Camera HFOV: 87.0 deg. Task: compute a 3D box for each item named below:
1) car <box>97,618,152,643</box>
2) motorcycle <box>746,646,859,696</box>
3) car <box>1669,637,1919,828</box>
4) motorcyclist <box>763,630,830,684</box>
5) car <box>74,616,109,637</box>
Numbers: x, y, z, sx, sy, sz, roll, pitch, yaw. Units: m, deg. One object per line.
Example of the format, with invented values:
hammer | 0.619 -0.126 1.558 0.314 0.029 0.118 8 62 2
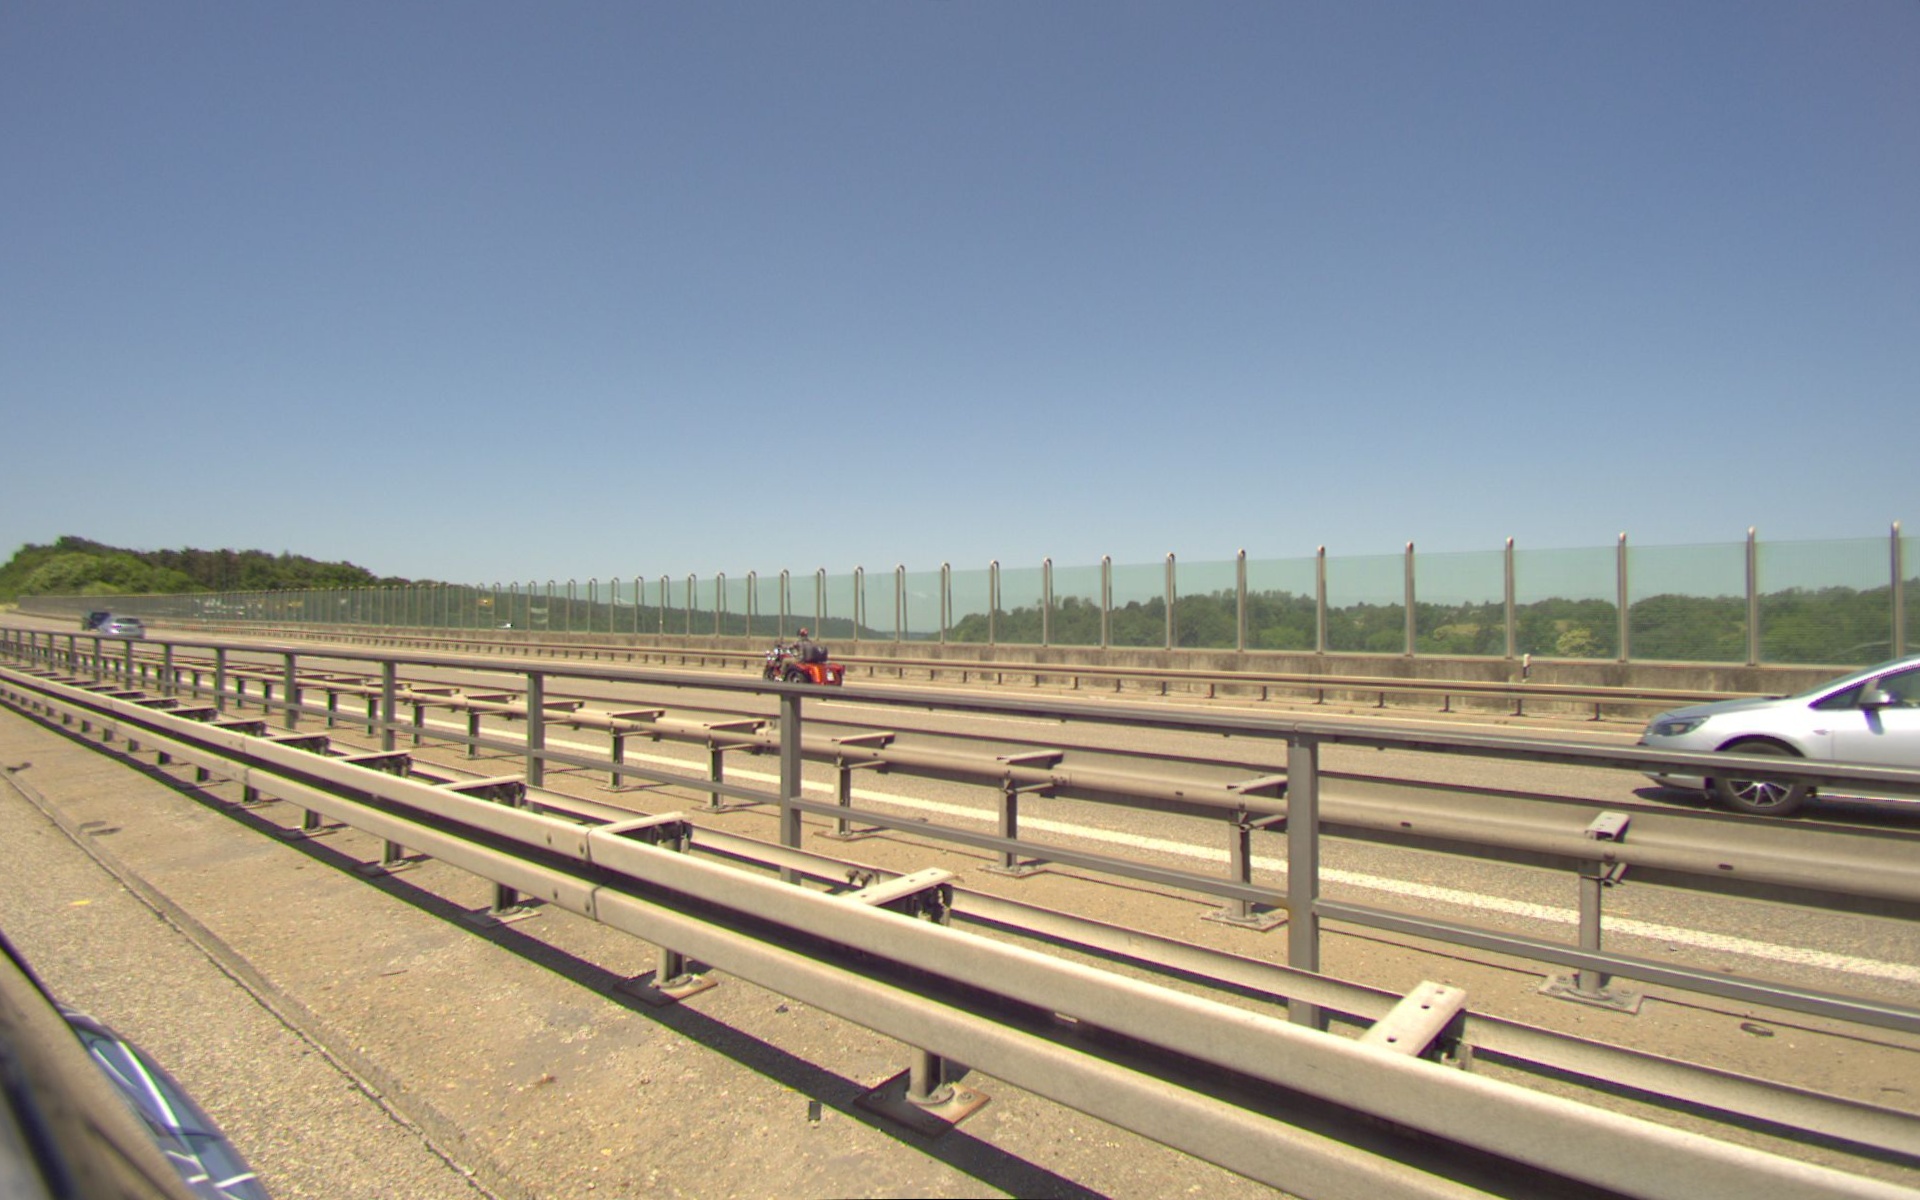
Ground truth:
car | -50.503 1.858 61.120 4.163 1.405 1.890 0 -2 41
motorcycle | -3.851 1.700 24.653 2.575 1.108 1.351 -1 -4 41
car | 8.335 1.063 8.134 4.173 1.445 1.697 -1 -3 41
motorcyclist | -3.999 1.381 24.771 1.118 1.266 1.174 -1 -4 41
car | -79.804 2.404 92.950 4.299 1.798 1.764 0 -1 40
